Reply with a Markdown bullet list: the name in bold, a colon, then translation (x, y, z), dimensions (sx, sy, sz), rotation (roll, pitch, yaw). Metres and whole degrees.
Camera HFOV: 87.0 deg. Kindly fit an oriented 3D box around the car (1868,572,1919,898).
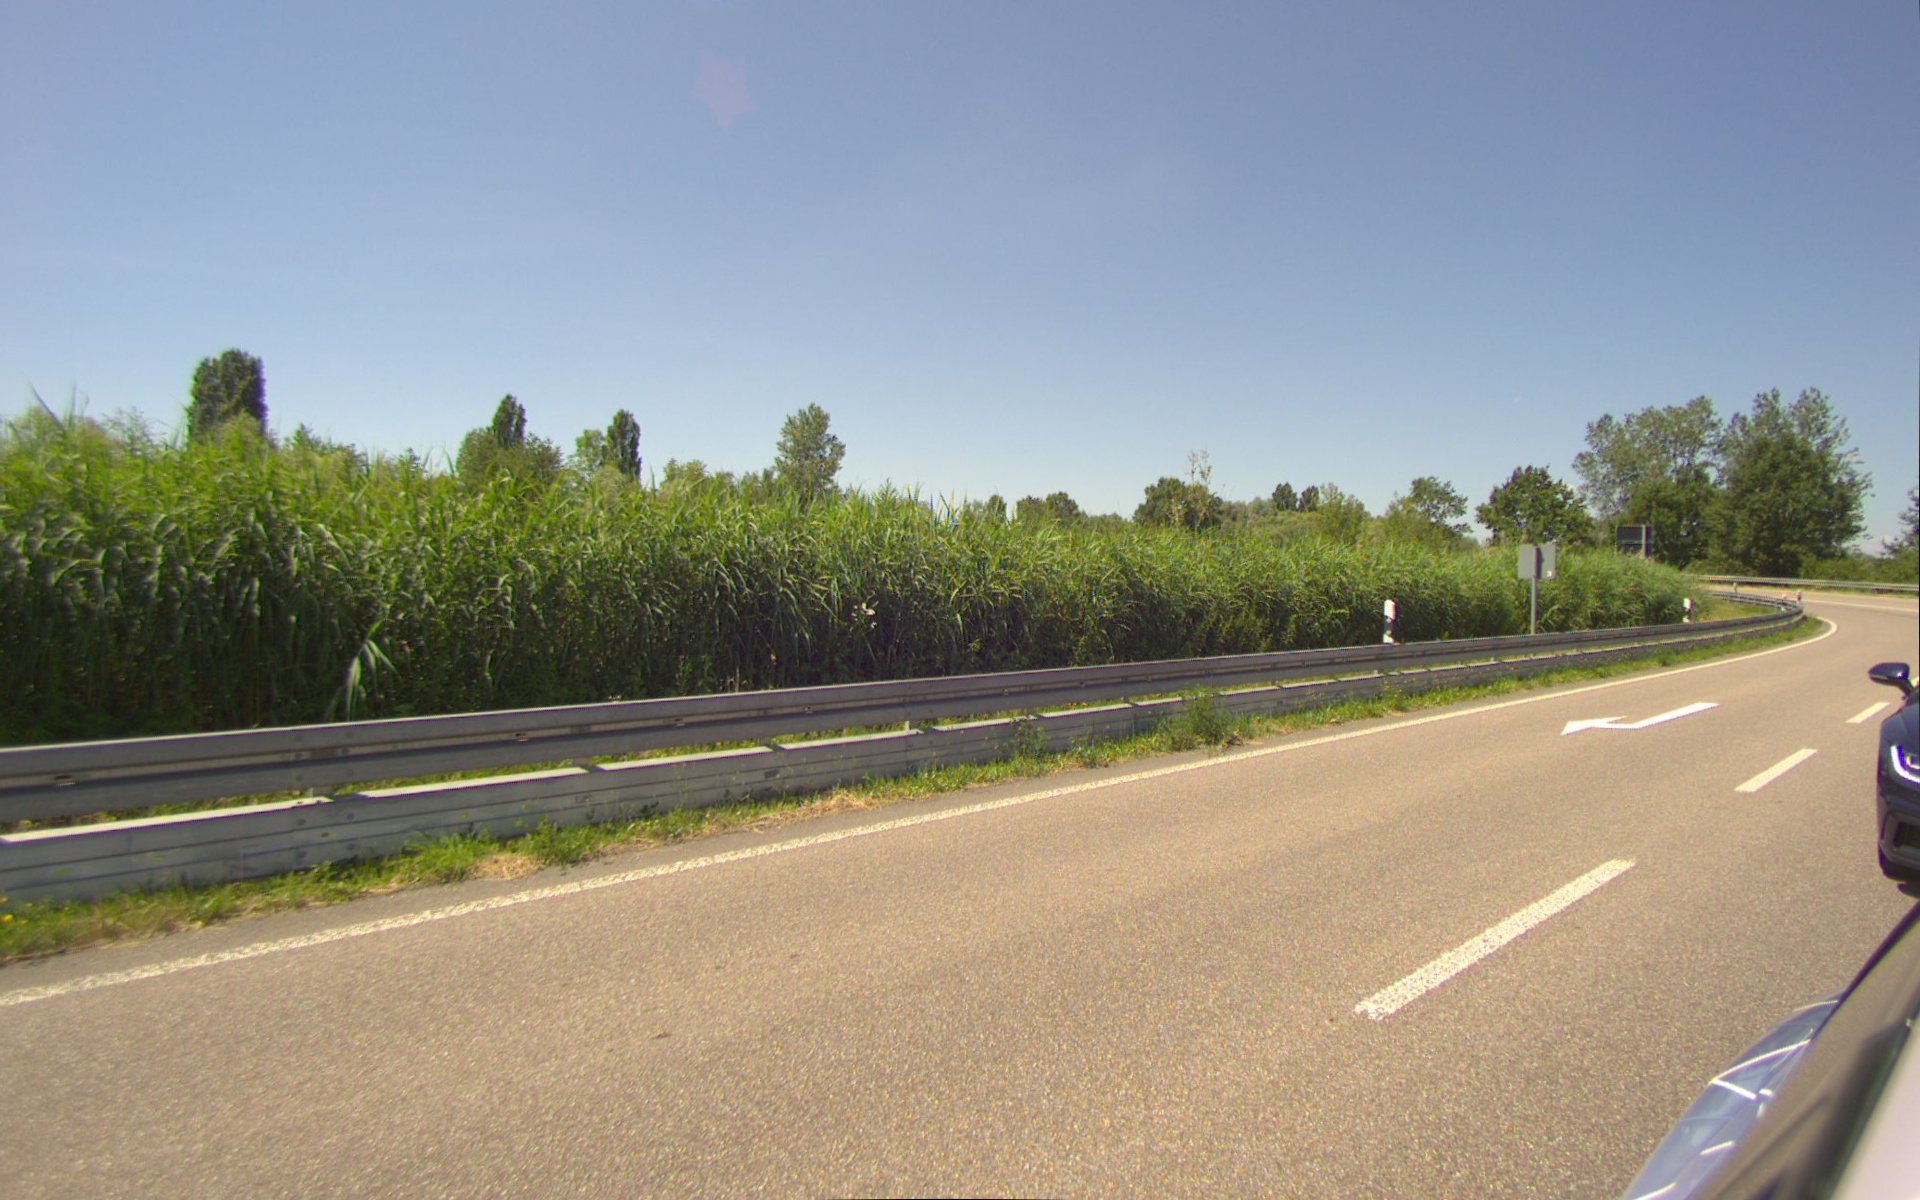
- **car**: translation (6.465, 0.601, 5.454), dimensions (4.338, 1.481, 1.818), rotation (-1, 1, -41)
